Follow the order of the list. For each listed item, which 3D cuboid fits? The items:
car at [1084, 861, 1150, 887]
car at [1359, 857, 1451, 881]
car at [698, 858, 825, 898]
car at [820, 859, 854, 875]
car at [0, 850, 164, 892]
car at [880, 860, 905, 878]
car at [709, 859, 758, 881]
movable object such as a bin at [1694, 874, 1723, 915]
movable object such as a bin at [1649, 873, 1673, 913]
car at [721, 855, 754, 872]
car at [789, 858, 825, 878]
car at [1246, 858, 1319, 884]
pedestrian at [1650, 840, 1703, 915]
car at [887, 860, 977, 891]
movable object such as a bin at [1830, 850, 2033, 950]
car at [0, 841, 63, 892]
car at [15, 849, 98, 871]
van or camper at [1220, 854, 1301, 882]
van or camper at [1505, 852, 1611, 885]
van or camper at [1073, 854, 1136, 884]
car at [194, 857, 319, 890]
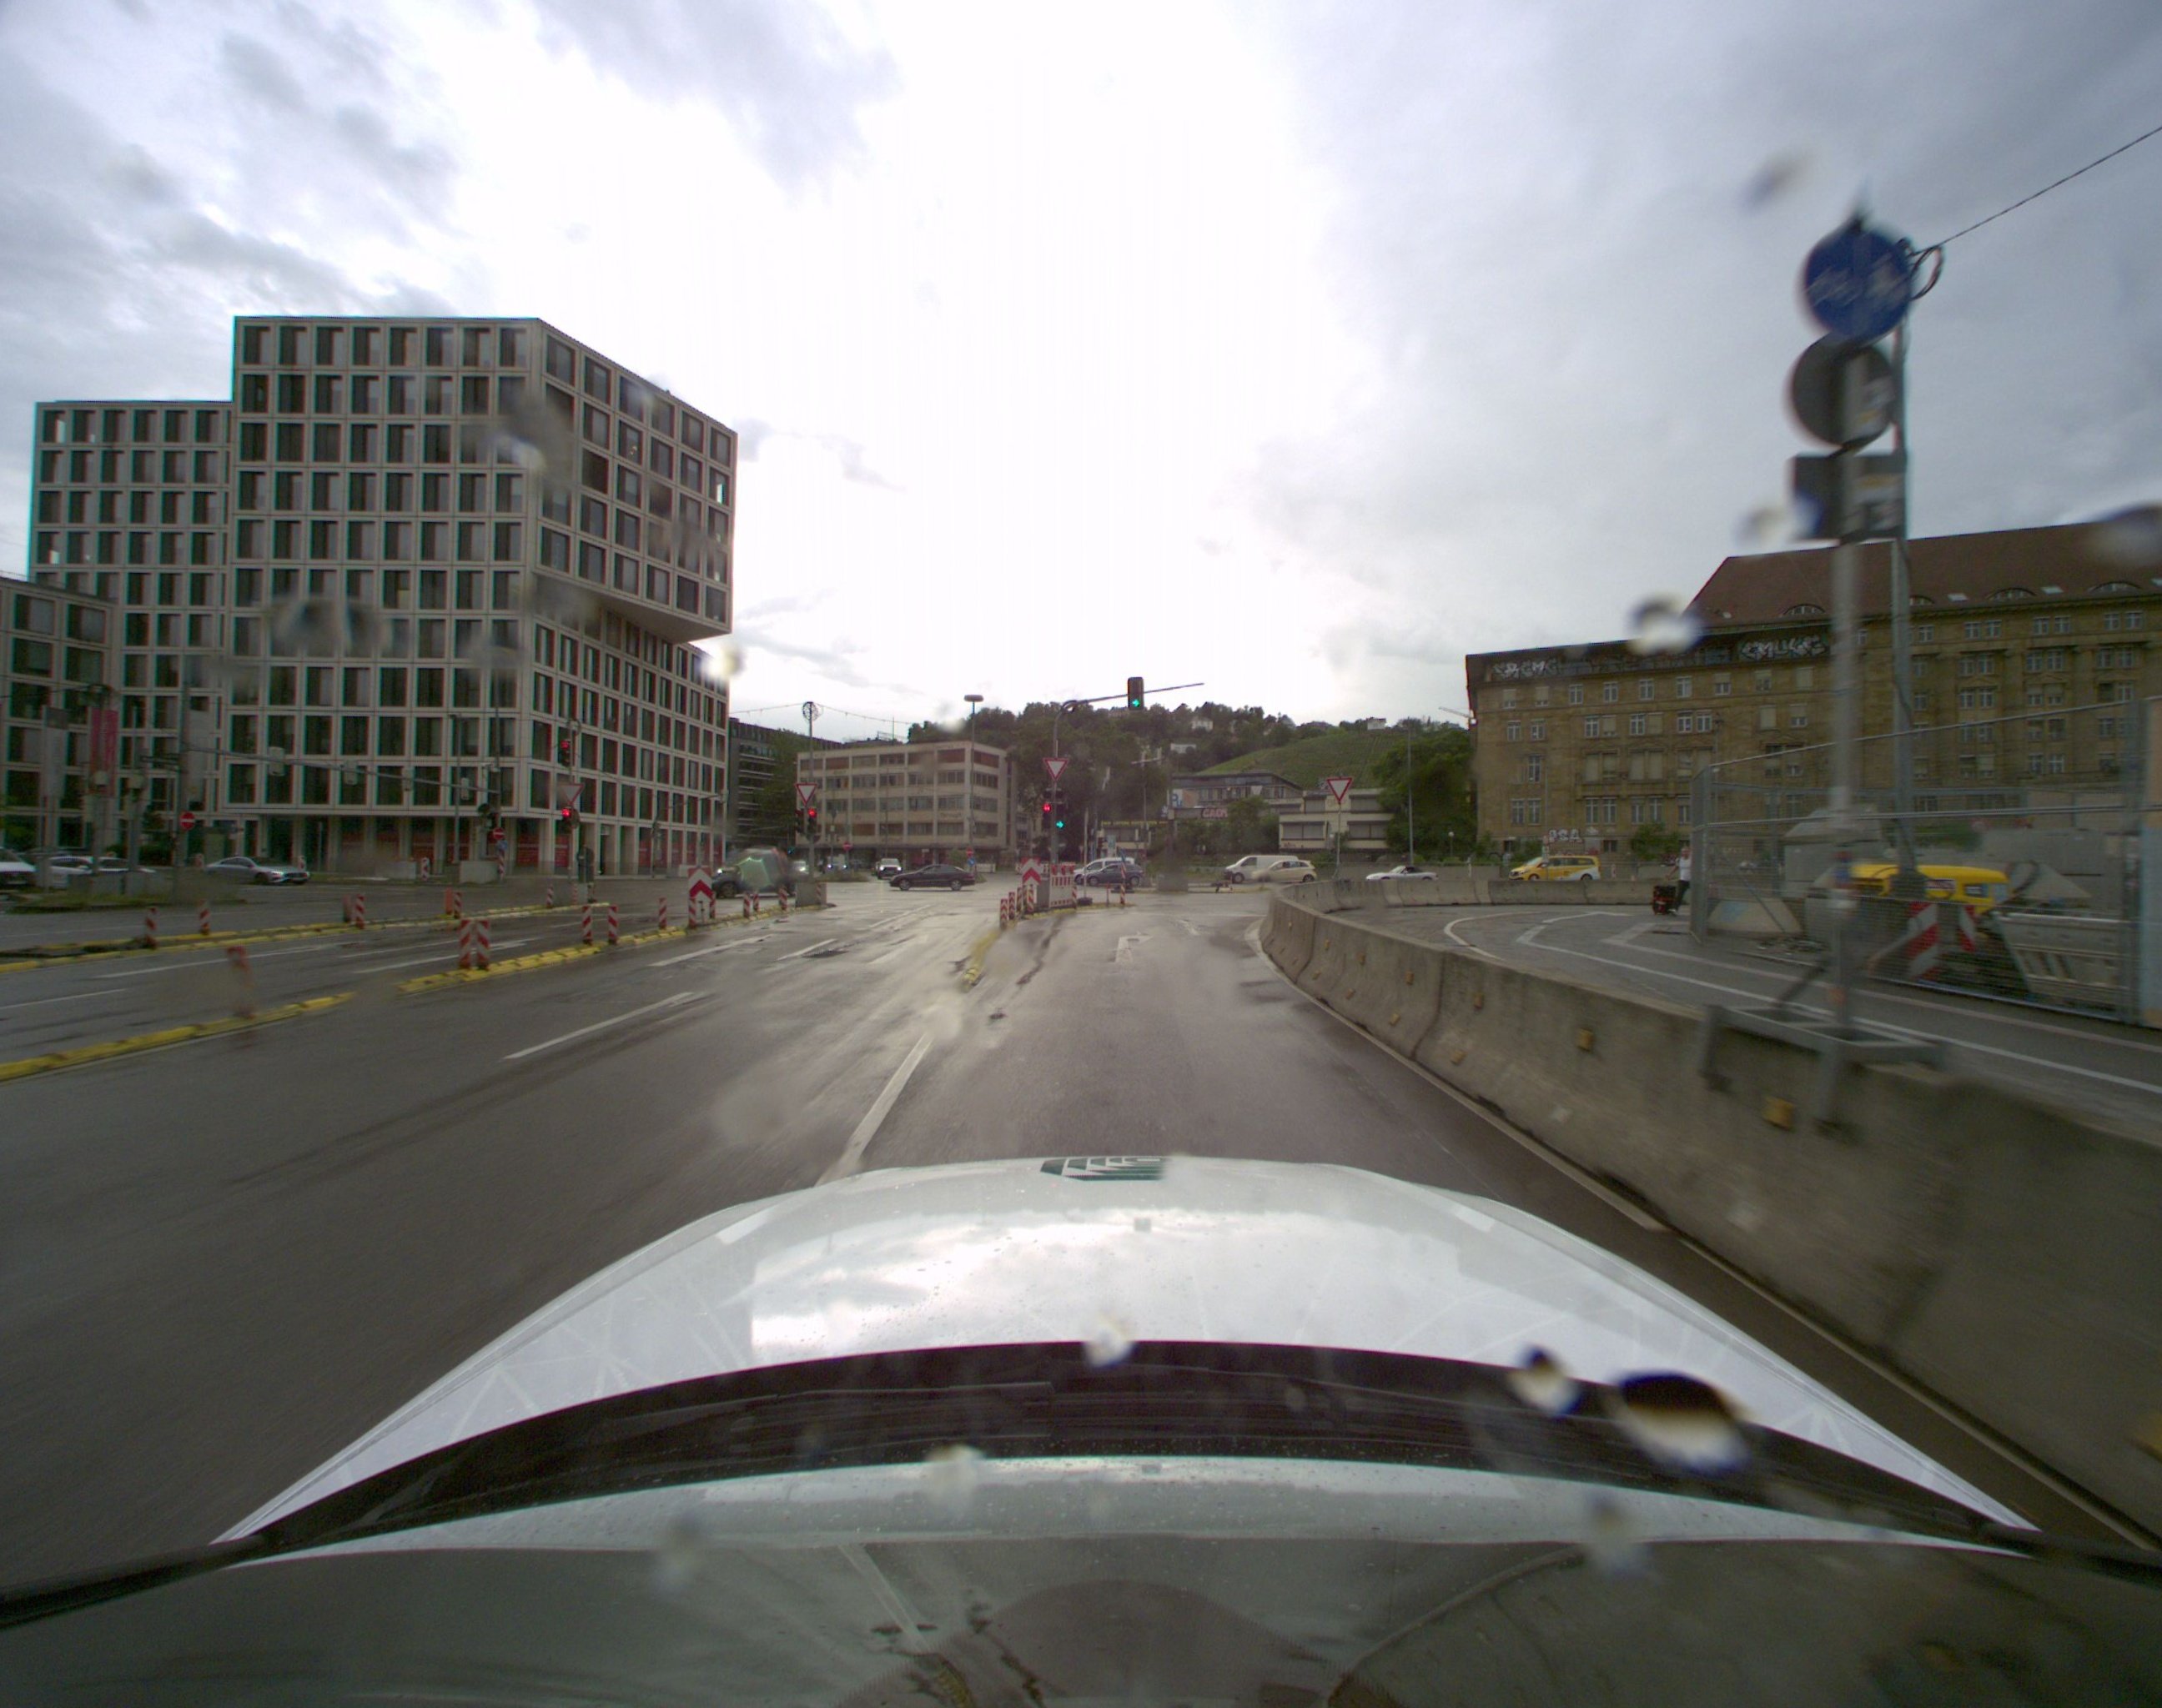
[{"bbox_3d":[2.285,1.275,52.768,4.157,1.598,1.849,0,0,-3],"label":"car"},{"bbox_3d":[17.868,0.827,45.008,4.500,1.309,1.642,0,0,-1],"label":"car"},{"bbox_3d":[-13.468,0.963,34.596,1.992,1.598,4.693,0,0,36],"label":"car"},{"bbox_3d":[-32.280,1.758,107.844,3.950,2.014,2.012,1,-1,27],"label":"car"},{"bbox_3d":[-42.641,0.697,34.827,4.629,1.738,2.020,0,0,3],"label":"car"},{"bbox_3d":[-16.090,1.289,69.609,1.830,1.486,3.987,0,0,-9],"label":"car"},{"bbox_3d":[-29.304,1.353,68.827,2.216,1.753,4.809,0,-1,-2],"label":"car"},{"bbox_3d":[15.911,1.022,20.645,0.513,1.016,0.556,0,-1,45],"label":"movable object such as a bin"},{"bbox_3d":[15.307,1.019,21.483,0.426,1.016,0.525,0,-1,45],"label":"movable object such as a bin"},{"bbox_3d":[-39.201,1.093,92.848,3.949,1.816,1.817,0,0,39],"label":"car"},{"bbox_3d":[-25.892,1.268,77.019,1.791,1.816,4.005,0,0,5],"label":"car"},{"bbox_3d":[13.054,1.090,52.855,4.348,1.673,1.849,0,0,2],"label":"car"},{"bbox_3d":[15.336,0.592,20.982,0.783,1.865,0.990,1,-1,-44],"label":"pedestrian"},{"bbox_3d":[-7.989,1.129,43.925,4.646,1.598,2.012,0,0,-9],"label":"car"},{"bbox_3d":[13.440,0.712,12.957,1.880,1.471,1.189,-2,-2,5],"label":"movable object such as a bin"},{"bbox_3d":[-43.013,0.455,31.494,5.043,1.904,2.091,0,0,5],"label":"car"},{"bbox_3d":[-72.719,0.418,57.842,3.965,1.523,1.871,0,-1,8],"label":"car"},{"bbox_3d":[12.296,0.958,55.962,5.183,1.894,1.886,0,0,-3],"label":"van or camper"},{"bbox_3d":[30.739,0.929,52.628,5.569,2.054,2.247,0,0,1],"label":"van or camper"},{"bbox_3d":[1.562,1.022,56.078,4.232,1.979,1.849,0,0,-3],"label":"van or camper"},{"bbox_3d":[-41.623,0.952,41.158,4.622,1.598,2.023,0,0,7],"label":"car"}]
